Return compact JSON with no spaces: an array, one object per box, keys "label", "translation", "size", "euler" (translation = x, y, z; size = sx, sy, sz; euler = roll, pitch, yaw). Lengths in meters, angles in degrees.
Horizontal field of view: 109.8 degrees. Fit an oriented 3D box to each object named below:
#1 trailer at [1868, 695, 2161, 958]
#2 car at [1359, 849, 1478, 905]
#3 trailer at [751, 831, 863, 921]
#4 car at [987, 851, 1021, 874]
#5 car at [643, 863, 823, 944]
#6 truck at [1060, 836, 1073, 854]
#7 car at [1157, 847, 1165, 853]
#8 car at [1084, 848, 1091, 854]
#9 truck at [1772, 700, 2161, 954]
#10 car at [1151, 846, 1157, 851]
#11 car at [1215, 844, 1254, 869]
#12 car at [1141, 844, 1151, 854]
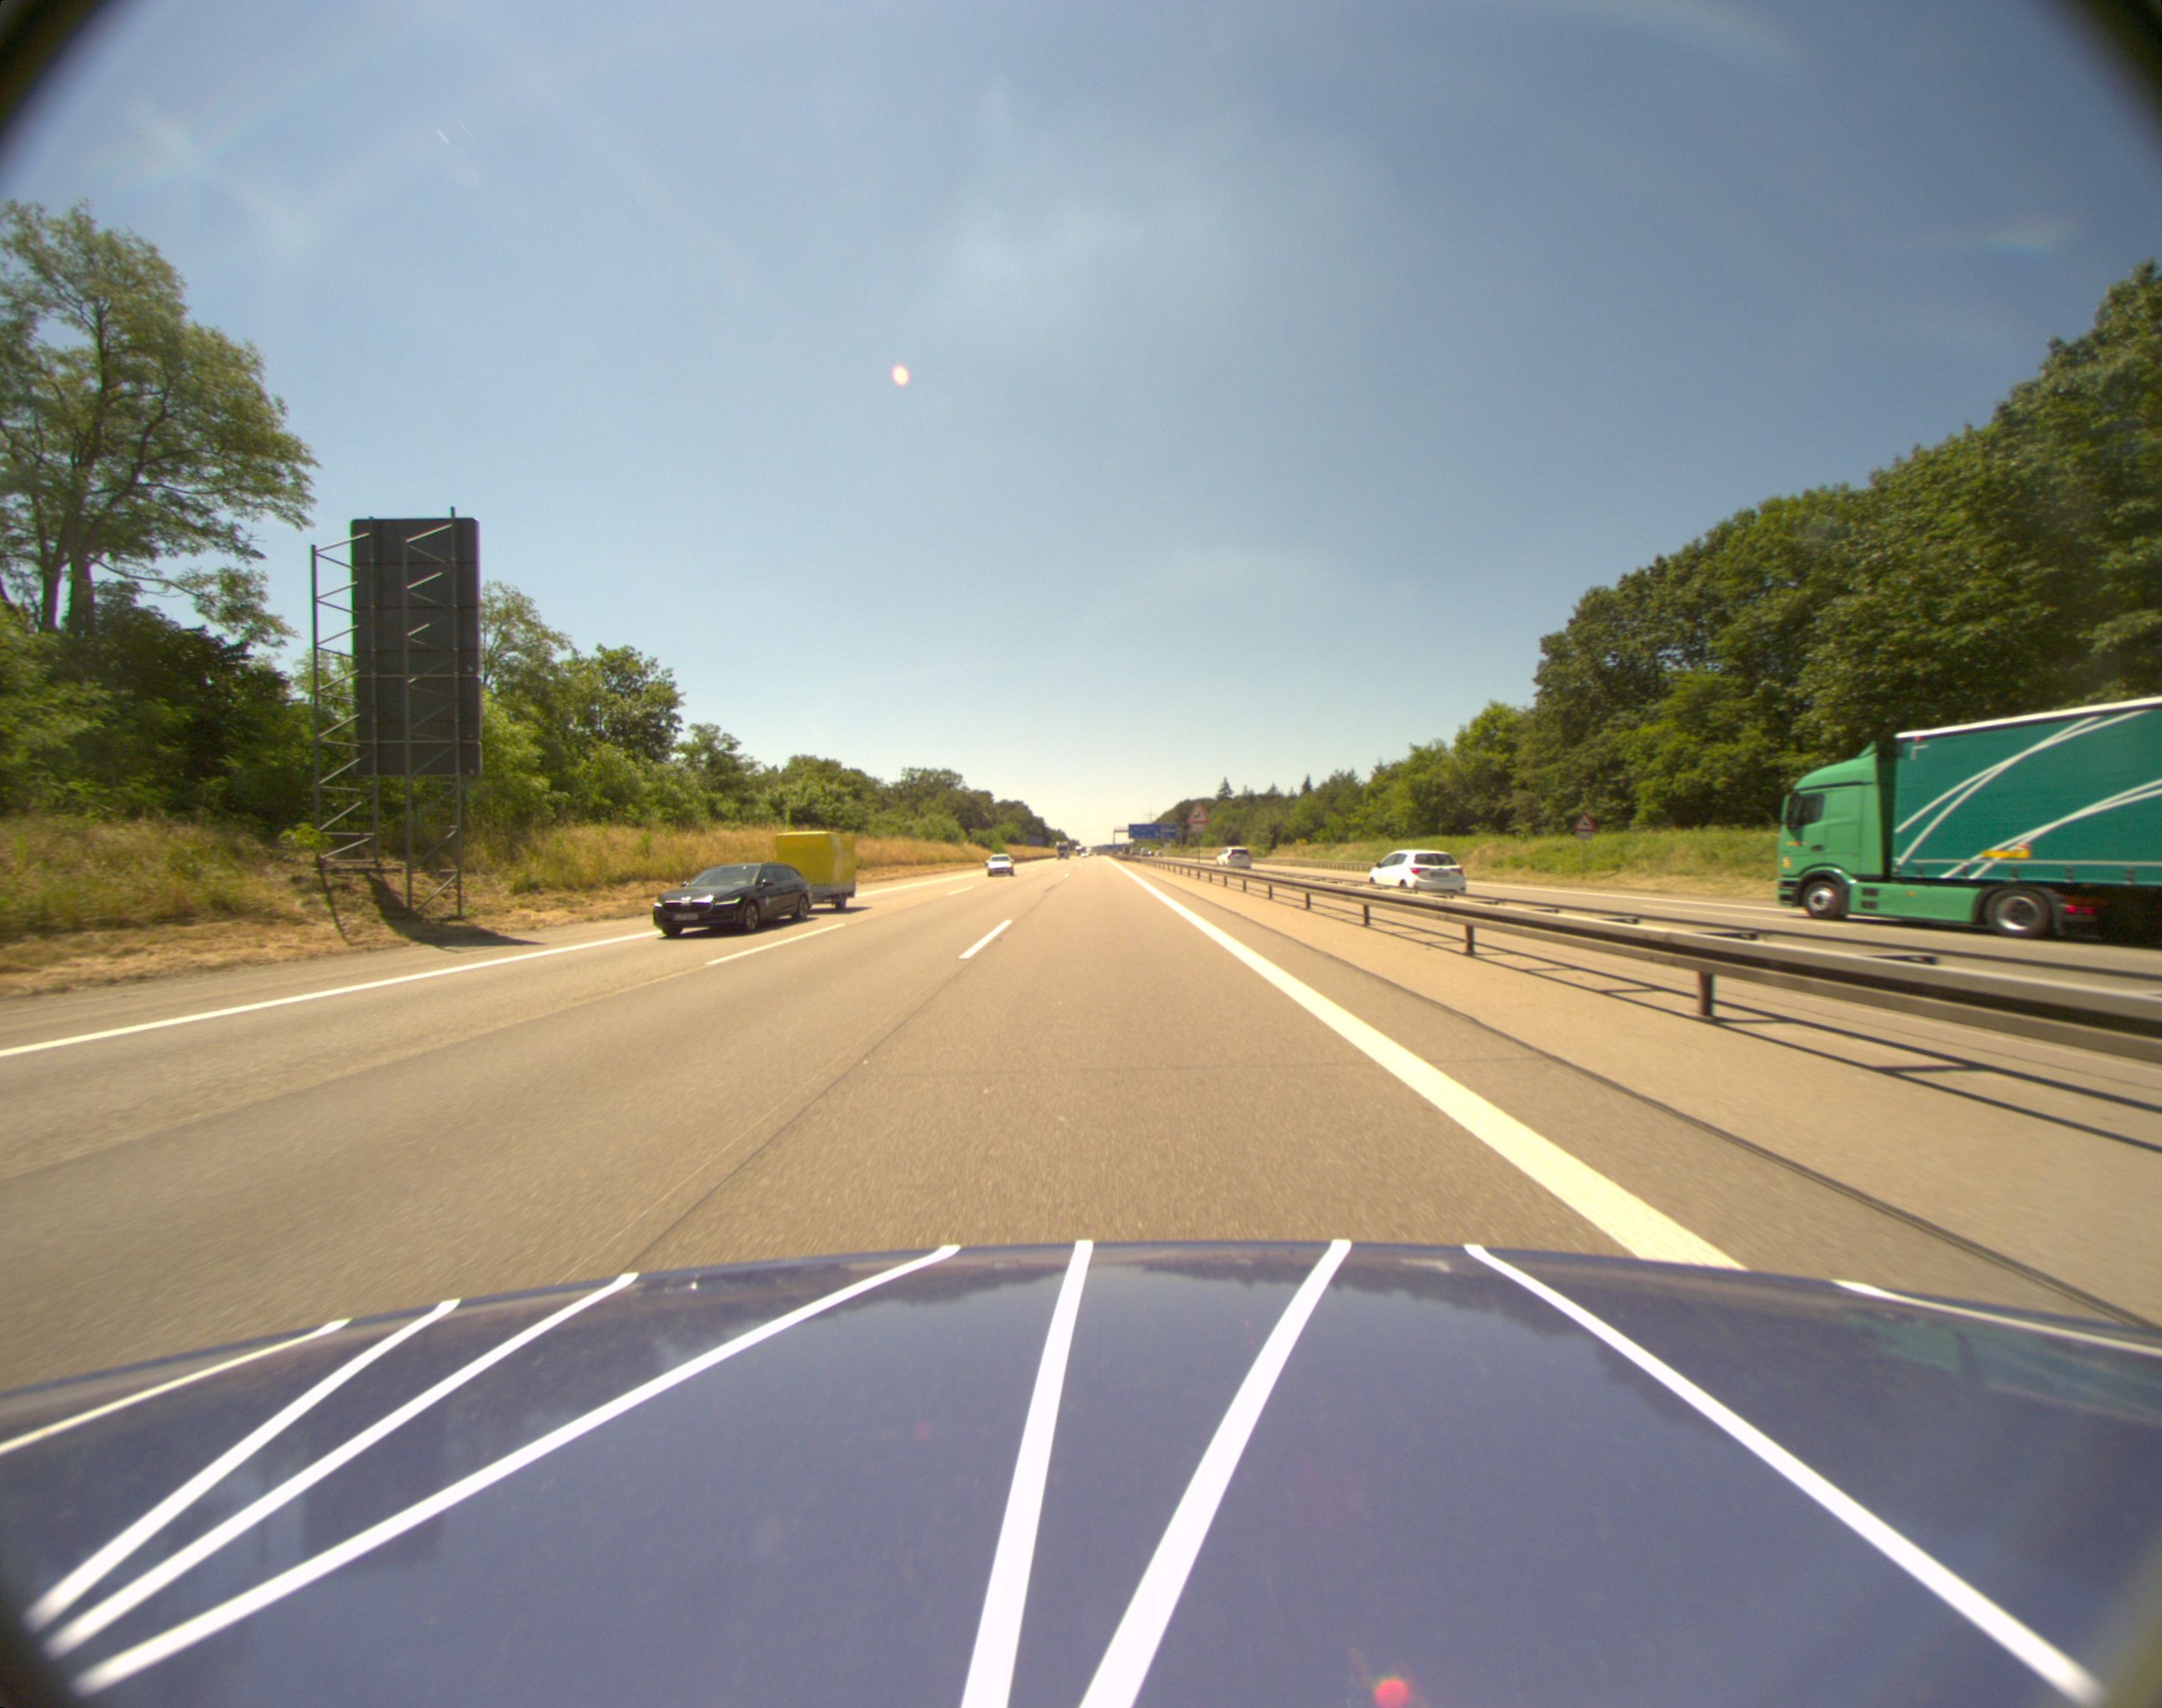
[{"label":"trailer","translation":[18.316,-0.369,9.221],"size":[2.711,4.137,14.337],"euler":[2,1,1]},{"label":"car","translation":[10.199,0.623,23.380],"size":[1.659,1.492,4.600],"euler":[2,1,1]},{"label":"trailer","translation":[-7.680,0.554,21.665],"size":[1.707,2.276,3.839],"euler":[-2,1,0]},{"label":"car","translation":[-5.245,0.575,51.961],"size":[1.749,1.457,3.980],"euler":[-2,0,2]},{"label":"car","translation":[-7.655,1.005,17.326],"size":[1.826,1.447,4.788],"euler":[-2,1,0]},{"label":"truck","translation":[-3.125,-1.859,166.078],"size":[2.605,3.811,5.969],"euler":[-2,0,1]},{"label":"car","translation":[23.159,-1.149,220.220],"size":[1.706,1.651,5.116],"euler":[2,0,1]},{"label":"car","translation":[1.775,-0.881,198.451],"size":[1.796,1.412,4.000],"euler":[-2,0,0]},{"label":"truck","translation":[18.459,-0.433,15.588],"size":[2.707,4.137,6.296],"euler":[2,1,1]},{"label":"car","translation":[24.285,-1.743,253.293],"size":[1.706,1.536,4.535],"euler":[2,0,1]},{"label":"car","translation":[11.591,0.174,57.728],"size":[1.958,1.782,5.562],"euler":[2,0,1]},{"label":"car","translation":[18.635,-1.392,218.463],"size":[2.170,2.609,7.543],"euler":[2,0,1]}]
